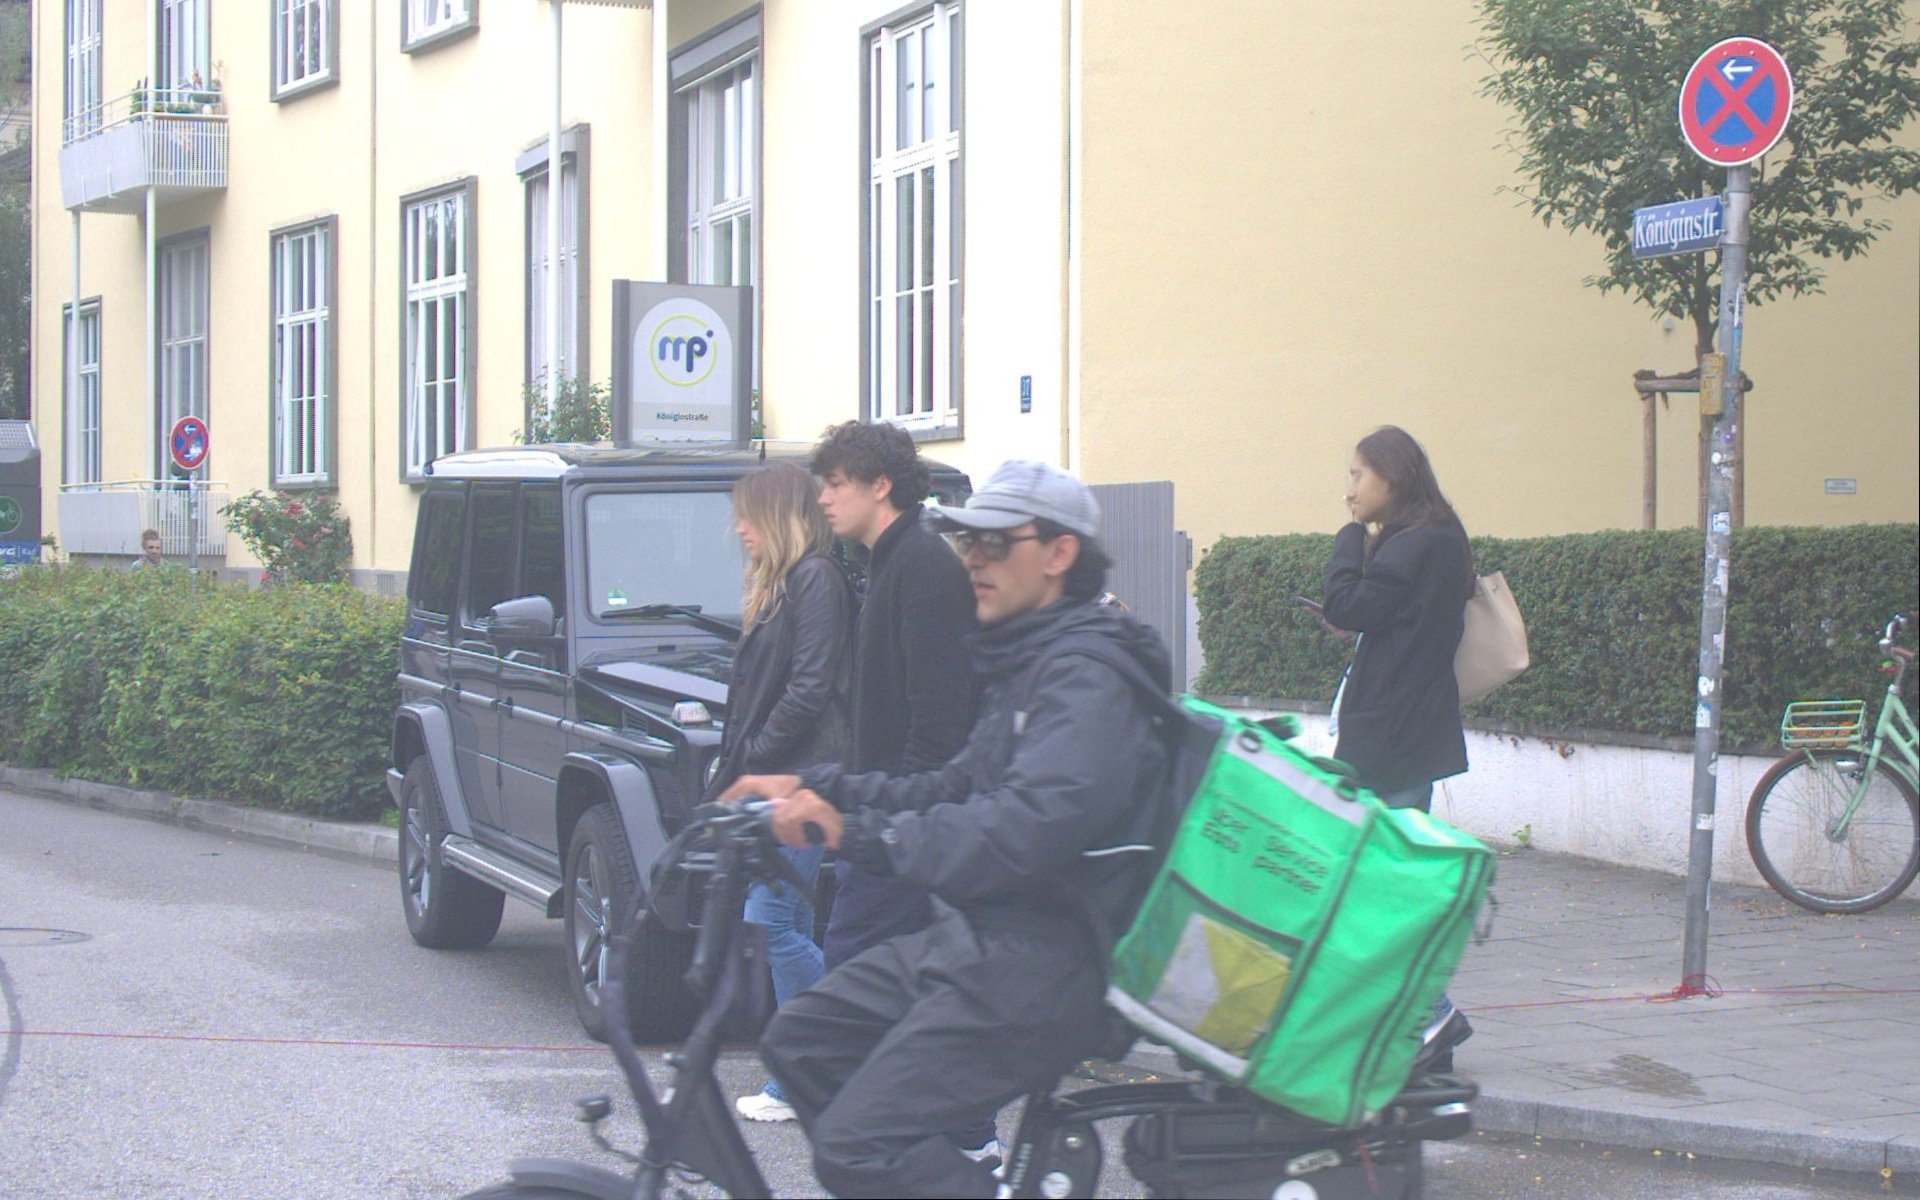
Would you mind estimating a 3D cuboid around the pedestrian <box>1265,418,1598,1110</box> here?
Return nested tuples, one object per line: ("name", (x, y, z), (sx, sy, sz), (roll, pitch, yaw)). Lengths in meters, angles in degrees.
("pedestrian", (1.307, 0.441, 9.645), (0.850, 1.851, 0.766), (-1, 1, 6))

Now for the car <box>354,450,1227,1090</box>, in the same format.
("car", (-0.851, 0.450, 12.600), (1.873, 1.881, 4.620), (-1, 1, -21))

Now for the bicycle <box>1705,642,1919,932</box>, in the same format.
("bicycle", (3.862, 0.701, 13.050), (1.947, 1.081, 0.528), (-2, -1, 36))

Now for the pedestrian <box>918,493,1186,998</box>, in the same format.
("pedestrian", (0.317, 0.496, 12.485), (0.848, 1.751, 0.954), (-1, 1, -5))

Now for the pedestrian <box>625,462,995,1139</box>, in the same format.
("pedestrian", (-0.389, 0.507, 9.268), (0.827, 1.740, 0.740), (0, 1, 13))

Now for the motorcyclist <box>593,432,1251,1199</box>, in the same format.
("motorcyclist", (-0.066, 0.512, 5.050), (0.896, 1.496, 0.714), (0, 1, -3))

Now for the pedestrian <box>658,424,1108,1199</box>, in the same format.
("pedestrian", (-0.165, 0.497, 8.212), (0.990, 1.803, 0.659), (0, 1, 6))

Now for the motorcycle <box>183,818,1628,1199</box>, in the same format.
("motorcycle", (-0.083, 0.904, 5.052), (1.971, 1.094, 0.718), (0, 1, -4))

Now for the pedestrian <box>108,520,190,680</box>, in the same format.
("pedestrian", (-8.672, -0.005, 36.766), (0.631, 1.678, 0.698), (-2, 1, -31))
